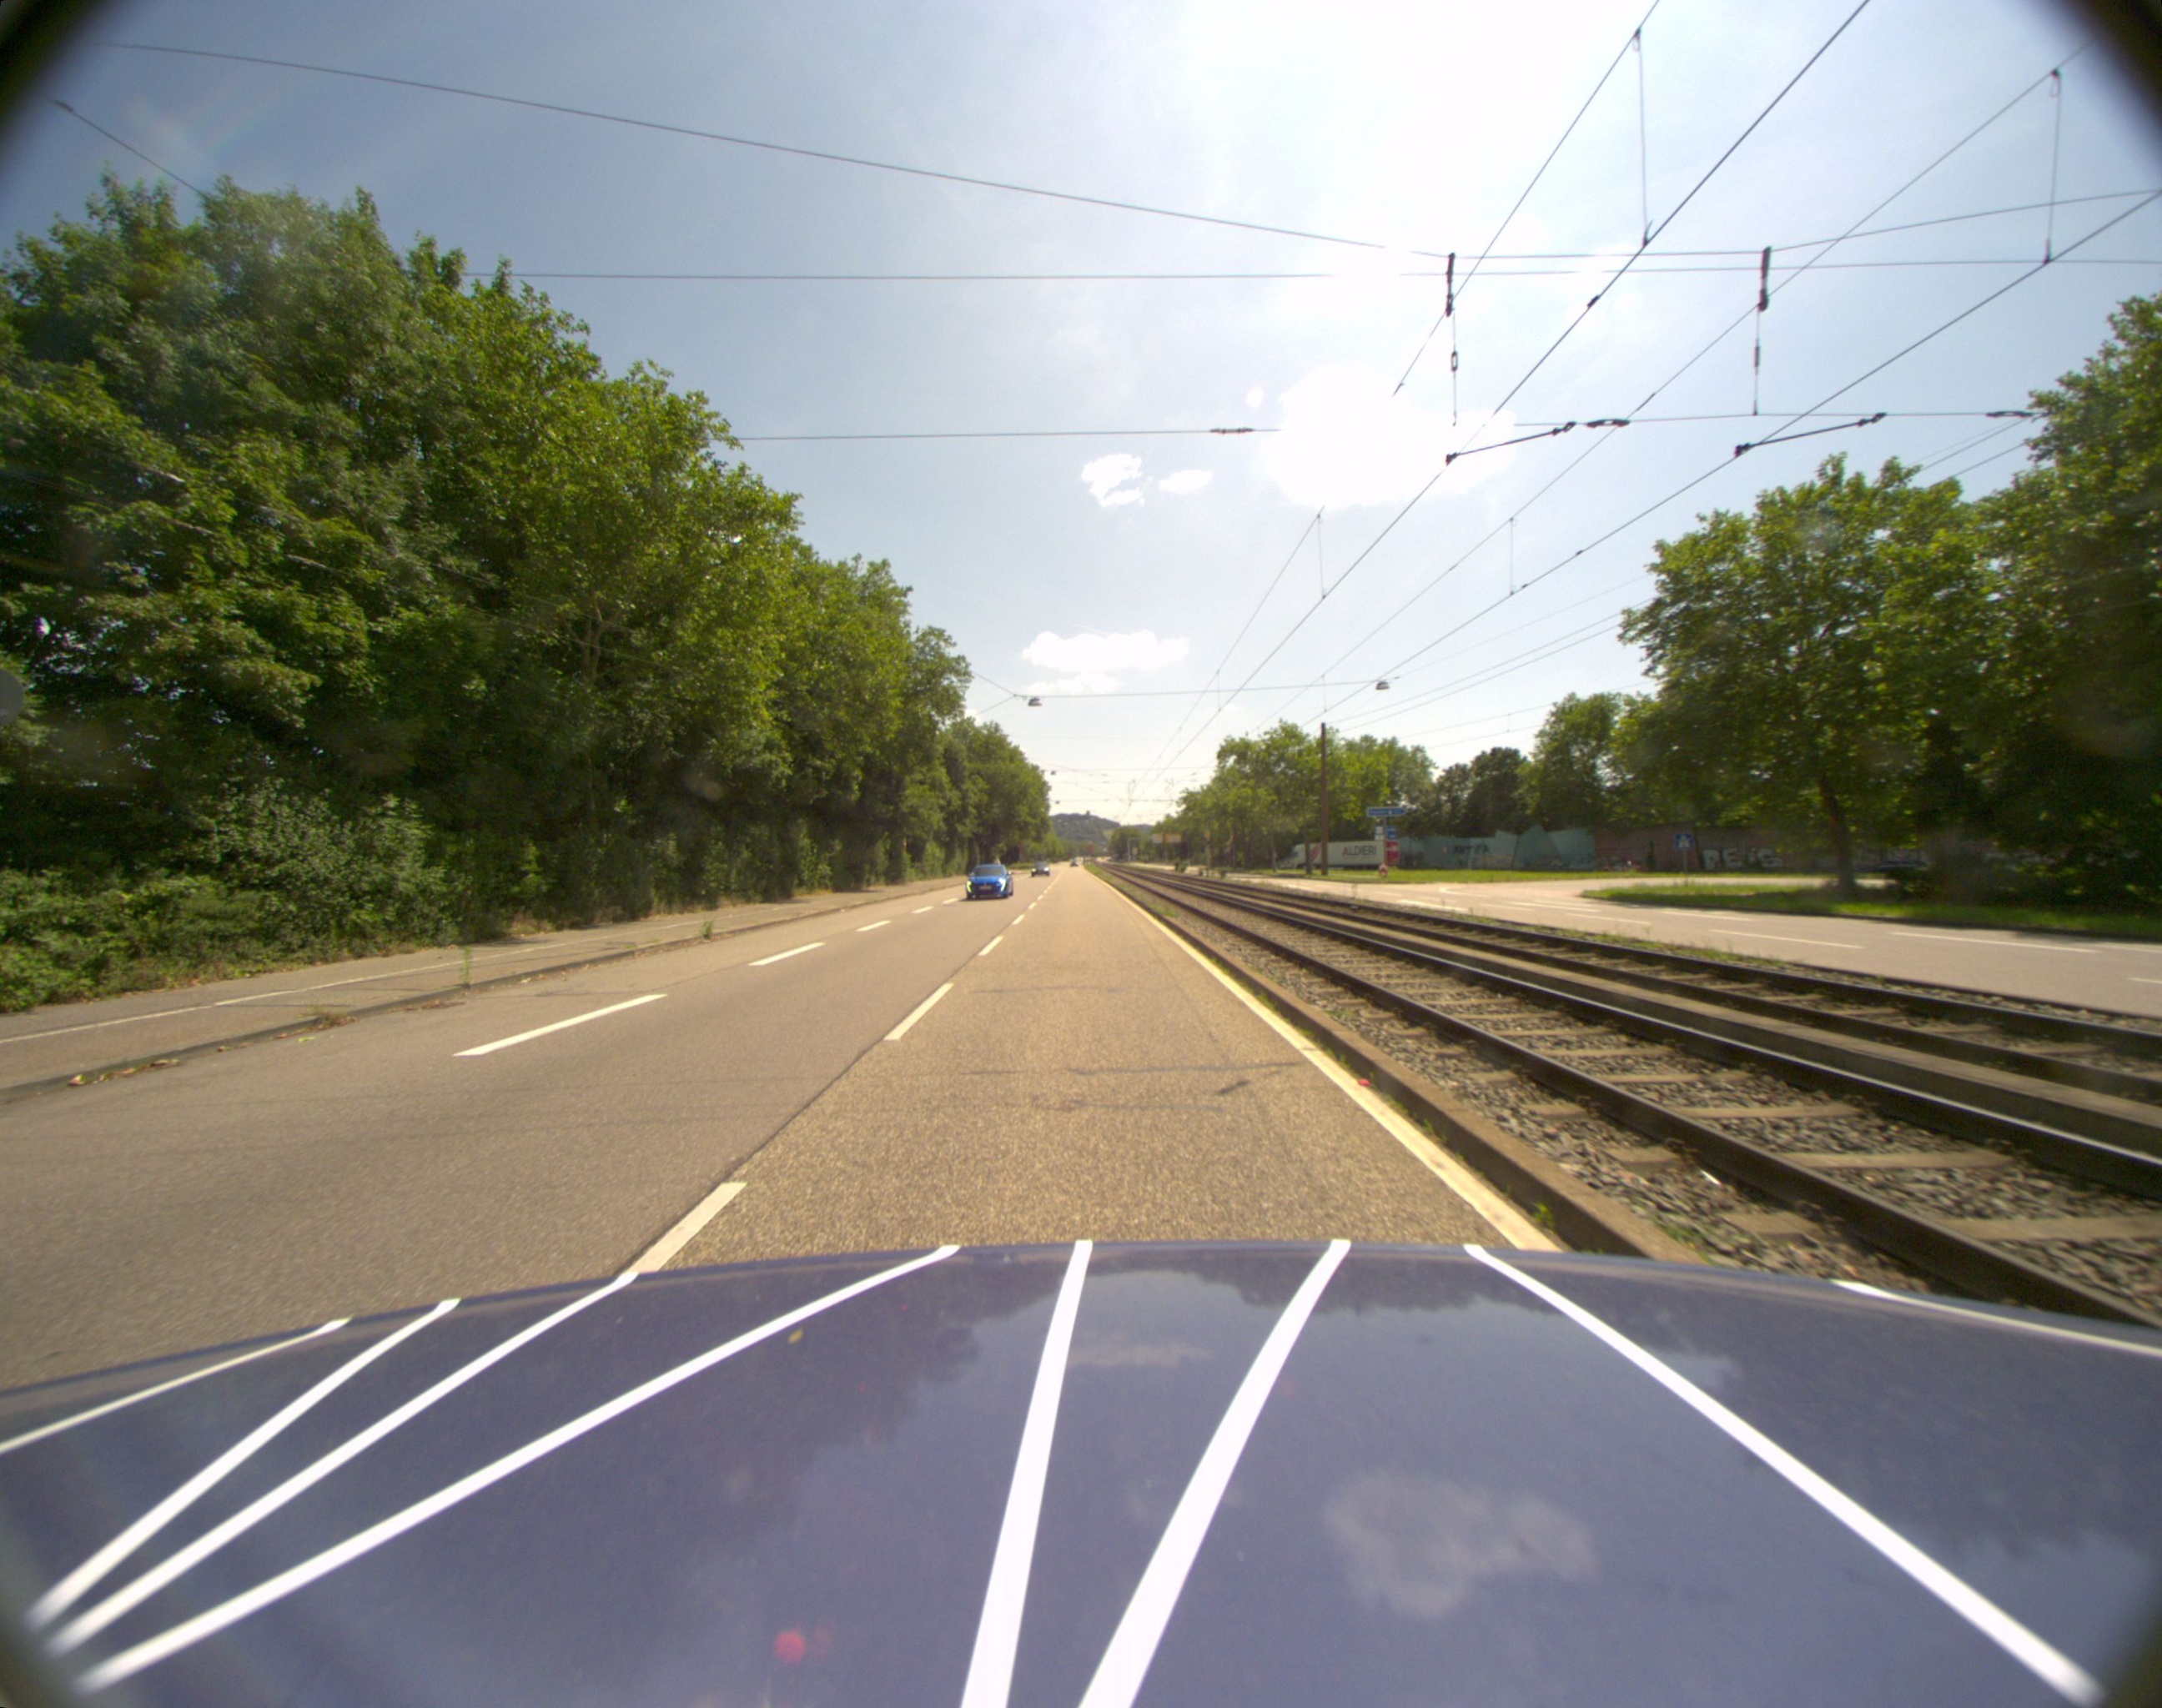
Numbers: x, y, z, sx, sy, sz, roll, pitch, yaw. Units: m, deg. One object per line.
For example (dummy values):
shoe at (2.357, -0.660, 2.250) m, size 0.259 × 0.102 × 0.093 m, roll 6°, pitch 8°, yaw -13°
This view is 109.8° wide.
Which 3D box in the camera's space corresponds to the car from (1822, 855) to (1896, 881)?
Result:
car at (55.872, 0.964, 54.630) m, size 1.567 × 1.781 × 3.392 m, roll -1°, pitch 0°, yaw -25°

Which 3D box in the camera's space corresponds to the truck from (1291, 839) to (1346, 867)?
truck at (32.737, -0.099, 104.957) m, size 3.423 × 3.680 × 6.745 m, roll -1°, pitch 0°, yaw -26°

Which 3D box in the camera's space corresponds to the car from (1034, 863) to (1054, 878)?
car at (-3.687, 1.662, 76.523) m, size 1.769 × 1.359 × 3.743 m, roll -2°, pitch 0°, yaw 0°

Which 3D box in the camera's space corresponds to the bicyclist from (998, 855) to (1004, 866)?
bicyclist at (-9.803, 0.810, 93.410) m, size 0.704 × 1.431 × 0.641 m, roll -1°, pitch 0°, yaw 1°

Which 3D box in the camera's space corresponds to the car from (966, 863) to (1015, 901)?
car at (-3.816, 1.152, 32.717) m, size 1.660 × 1.397 × 3.743 m, roll -2°, pitch 0°, yaw -1°

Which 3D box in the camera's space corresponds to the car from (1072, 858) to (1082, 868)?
car at (-0.909, 2.025, 167.210) m, size 1.999 × 2.002 × 3.999 m, roll -2°, pitch 0°, yaw 0°

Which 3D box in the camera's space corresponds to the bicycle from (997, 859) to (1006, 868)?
bicycle at (-9.802, 1.147, 93.438) m, size 0.710 × 1.131 × 2.538 m, roll -1°, pitch 0°, yaw 1°

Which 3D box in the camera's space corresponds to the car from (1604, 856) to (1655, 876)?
car at (49.375, 1.062, 68.438) m, size 1.567 × 1.781 × 3.392 m, roll -1°, pitch 0°, yaw -25°

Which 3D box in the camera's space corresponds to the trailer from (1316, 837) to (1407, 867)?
trailer at (35.969, -0.206, 98.265) m, size 3.393 × 3.633 × 12.084 m, roll -1°, pitch 0°, yaw -26°
